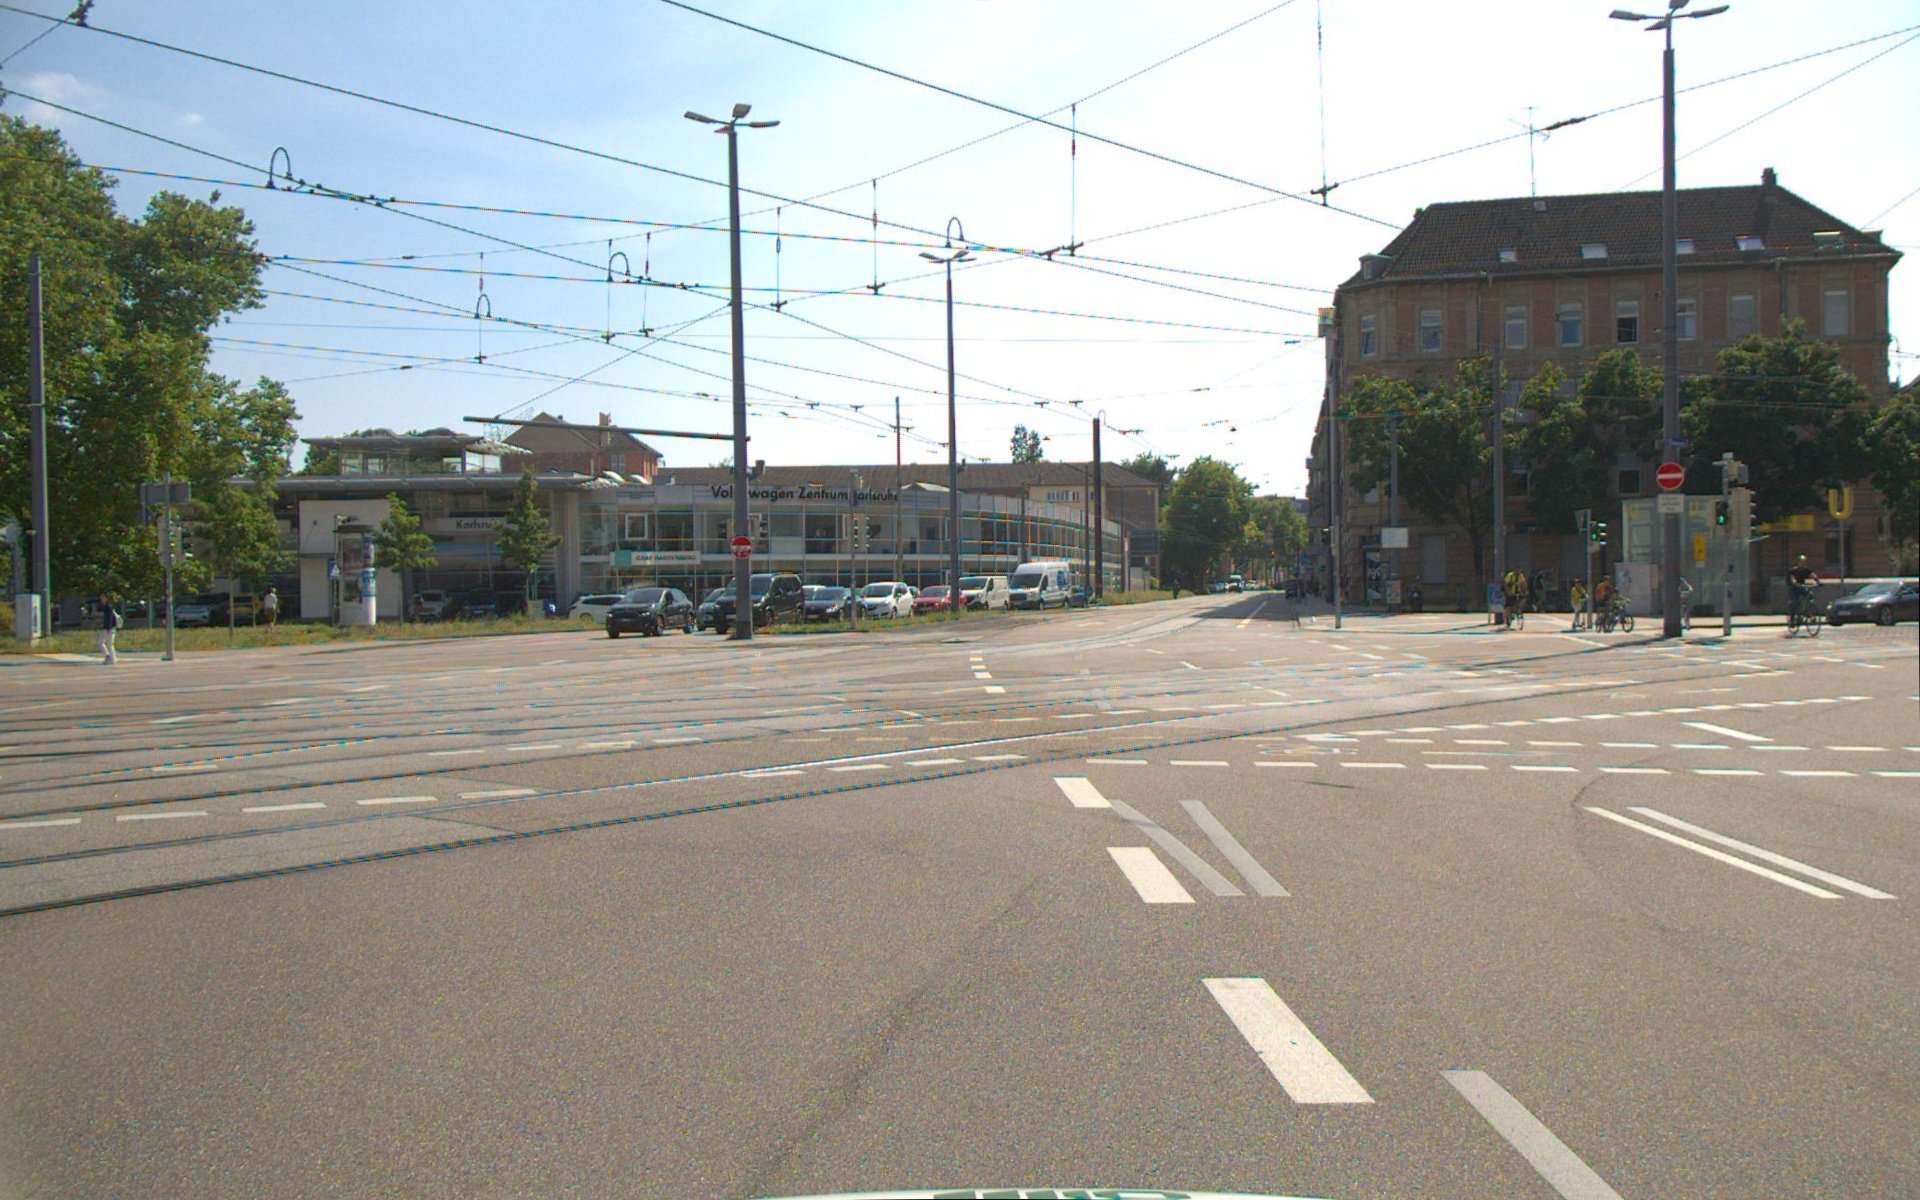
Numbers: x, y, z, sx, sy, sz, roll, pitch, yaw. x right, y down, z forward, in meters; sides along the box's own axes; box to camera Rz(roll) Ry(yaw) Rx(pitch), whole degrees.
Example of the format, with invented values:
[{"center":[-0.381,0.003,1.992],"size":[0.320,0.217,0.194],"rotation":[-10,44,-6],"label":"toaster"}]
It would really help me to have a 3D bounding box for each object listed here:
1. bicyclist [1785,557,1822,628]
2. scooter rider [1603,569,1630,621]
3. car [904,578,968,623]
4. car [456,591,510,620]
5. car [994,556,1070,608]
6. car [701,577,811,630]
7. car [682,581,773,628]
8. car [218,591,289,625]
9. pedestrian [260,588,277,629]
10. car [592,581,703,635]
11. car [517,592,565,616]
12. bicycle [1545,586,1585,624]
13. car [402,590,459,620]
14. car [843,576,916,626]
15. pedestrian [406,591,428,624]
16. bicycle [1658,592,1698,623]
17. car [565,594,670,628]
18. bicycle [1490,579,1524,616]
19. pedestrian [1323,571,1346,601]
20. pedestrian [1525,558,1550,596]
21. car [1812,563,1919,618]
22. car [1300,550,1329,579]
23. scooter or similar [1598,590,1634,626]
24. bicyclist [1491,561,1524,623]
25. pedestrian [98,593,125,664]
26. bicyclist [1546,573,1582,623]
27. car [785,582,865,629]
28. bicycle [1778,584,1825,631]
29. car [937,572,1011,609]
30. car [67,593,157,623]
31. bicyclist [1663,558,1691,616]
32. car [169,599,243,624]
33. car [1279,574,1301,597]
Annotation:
[{"center":[19.991,-0.174,39.217],"size":[0.653,1.652,0.783],"rotation":[1,1,19],"label":"bicyclist"},{"center":[18.231,-0.127,45.941],"size":[0.575,1.422,0.406],"rotation":[1,-1,-4],"label":"scooter rider"},{"center":[-1.032,0.048,74.385],"size":[1.854,1.950,4.204],"rotation":[-1,-1,14],"label":"car"},{"center":[-25.362,0.294,87.984],"size":[1.954,1.512,3.996],"rotation":[1,0,-5],"label":"car"},{"center":[3.933,-0.932,88.877],"size":[2.164,2.620,5.873],"rotation":[1,0,23],"label":"car"},{"center":[-6.507,0.084,53.297],"size":[1.919,1.615,4.720],"rotation":[-1,1,14],"label":"car"},{"center":[-8.313,0.175,59.395],"size":[1.854,1.615,4.003],"rotation":[-1,-1,14],"label":"car"},{"center":[-37.599,0.444,88.124],"size":[1.952,1.713,4.001],"rotation":[1,0,2],"label":"car"},{"center":[-27.491,0.326,65.785],"size":[0.384,1.624,0.464],"rotation":[1,-1,20],"label":"pedestrian"},{"center":[-9.861,0.275,52.484],"size":[1.851,1.615,4.213],"rotation":[-1,-1,14],"label":"car"},{"center":[-22.219,0.193,87.782],"size":[1.794,1.216,3.996],"rotation":[1,0,-4],"label":"car"},{"center":[18.222,0.128,49.849],"size":[0.907,1.088,2.843],"rotation":[1,1,16],"label":"bicycle"},{"center":[-28.087,0.256,87.851],"size":[1.954,1.512,3.996],"rotation":[1,0,-5],"label":"car"},{"center":[-3.235,0.057,67.348],"size":[1.854,1.950,4.204],"rotation":[-1,-1,14],"label":"car"},{"center":[-27.192,0.389,82.783],"size":[0.935,1.607,0.533],"rotation":[1,-1,-7],"label":"pedestrian"},{"center":[20.668,0.210,47.621],"size":[0.490,0.881,1.588],"rotation":[1,1,2],"label":"bicycle"},{"center":[-15.665,0.498,75.684],"size":[4.486,1.461,1.445],"rotation":[1,-1,11],"label":"car"},{"center":[16.867,-0.061,51.020],"size":[0.907,1.088,2.748],"rotation":[1,0,17],"label":"bicycle"},{"center":[18.430,-0.701,81.323],"size":[0.870,1.458,0.709],"rotation":[-1,0,39],"label":"pedestrian"},{"center":[22.892,-0.905,65.573],"size":[0.608,1.458,0.702],"rotation":[2,-1,-41],"label":"pedestrian"},{"center":[28.168,-0.295,50.609],"size":[3.933,1.611,1.627],"rotation":[-1,0,-24],"label":"car"},{"center":[27.620,-2.745,128.879],"size":[1.951,2.049,4.003],"rotation":[1,0,9],"label":"car"},{"center":[18.227,0.226,45.974],"size":[0.575,0.993,0.991],"rotation":[1,-1,-3],"label":"scooter or similar"},{"center":[16.797,-0.244,50.760],"size":[0.907,1.852,1.053],"rotation":[1,-1,17],"label":"bicyclist"},{"center":[-19.708,0.652,38.418],"size":[0.450,1.633,0.394],"rotation":[2,-1,-39],"label":"pedestrian"},{"center":[18.219,-0.071,49.890],"size":[0.907,1.477,1.253],"rotation":[1,1,16],"label":"bicyclist"},{"center":[-4.838,0.205,59.952],"size":[1.854,1.615,4.003],"rotation":[-1,-1,11],"label":"car"},{"center":[20.049,0.163,39.421],"size":[0.653,1.088,2.464],"rotation":[1,1,19],"label":"bicycle"},{"center":[0.724,-0.468,81.492],"size":[2.139,1.710,5.031],"rotation":[-1,0,19],"label":"car"},{"center":[-46.711,0.434,91.183],"size":[3.909,1.579,1.998],"rotation":[-1,0,-5],"label":"car"},{"center":[20.676,-0.373,47.703],"size":[0.490,1.649,0.650],"rotation":[1,0,2],"label":"bicyclist"},{"center":[-39.888,0.619,87.592],"size":[1.952,1.266,4.001],"rotation":[1,0,2],"label":"car"},{"center":[31.229,-1.384,156.521],"size":[2.063,2.049,4.003],"rotation":[1,0,11],"label":"car"}]
